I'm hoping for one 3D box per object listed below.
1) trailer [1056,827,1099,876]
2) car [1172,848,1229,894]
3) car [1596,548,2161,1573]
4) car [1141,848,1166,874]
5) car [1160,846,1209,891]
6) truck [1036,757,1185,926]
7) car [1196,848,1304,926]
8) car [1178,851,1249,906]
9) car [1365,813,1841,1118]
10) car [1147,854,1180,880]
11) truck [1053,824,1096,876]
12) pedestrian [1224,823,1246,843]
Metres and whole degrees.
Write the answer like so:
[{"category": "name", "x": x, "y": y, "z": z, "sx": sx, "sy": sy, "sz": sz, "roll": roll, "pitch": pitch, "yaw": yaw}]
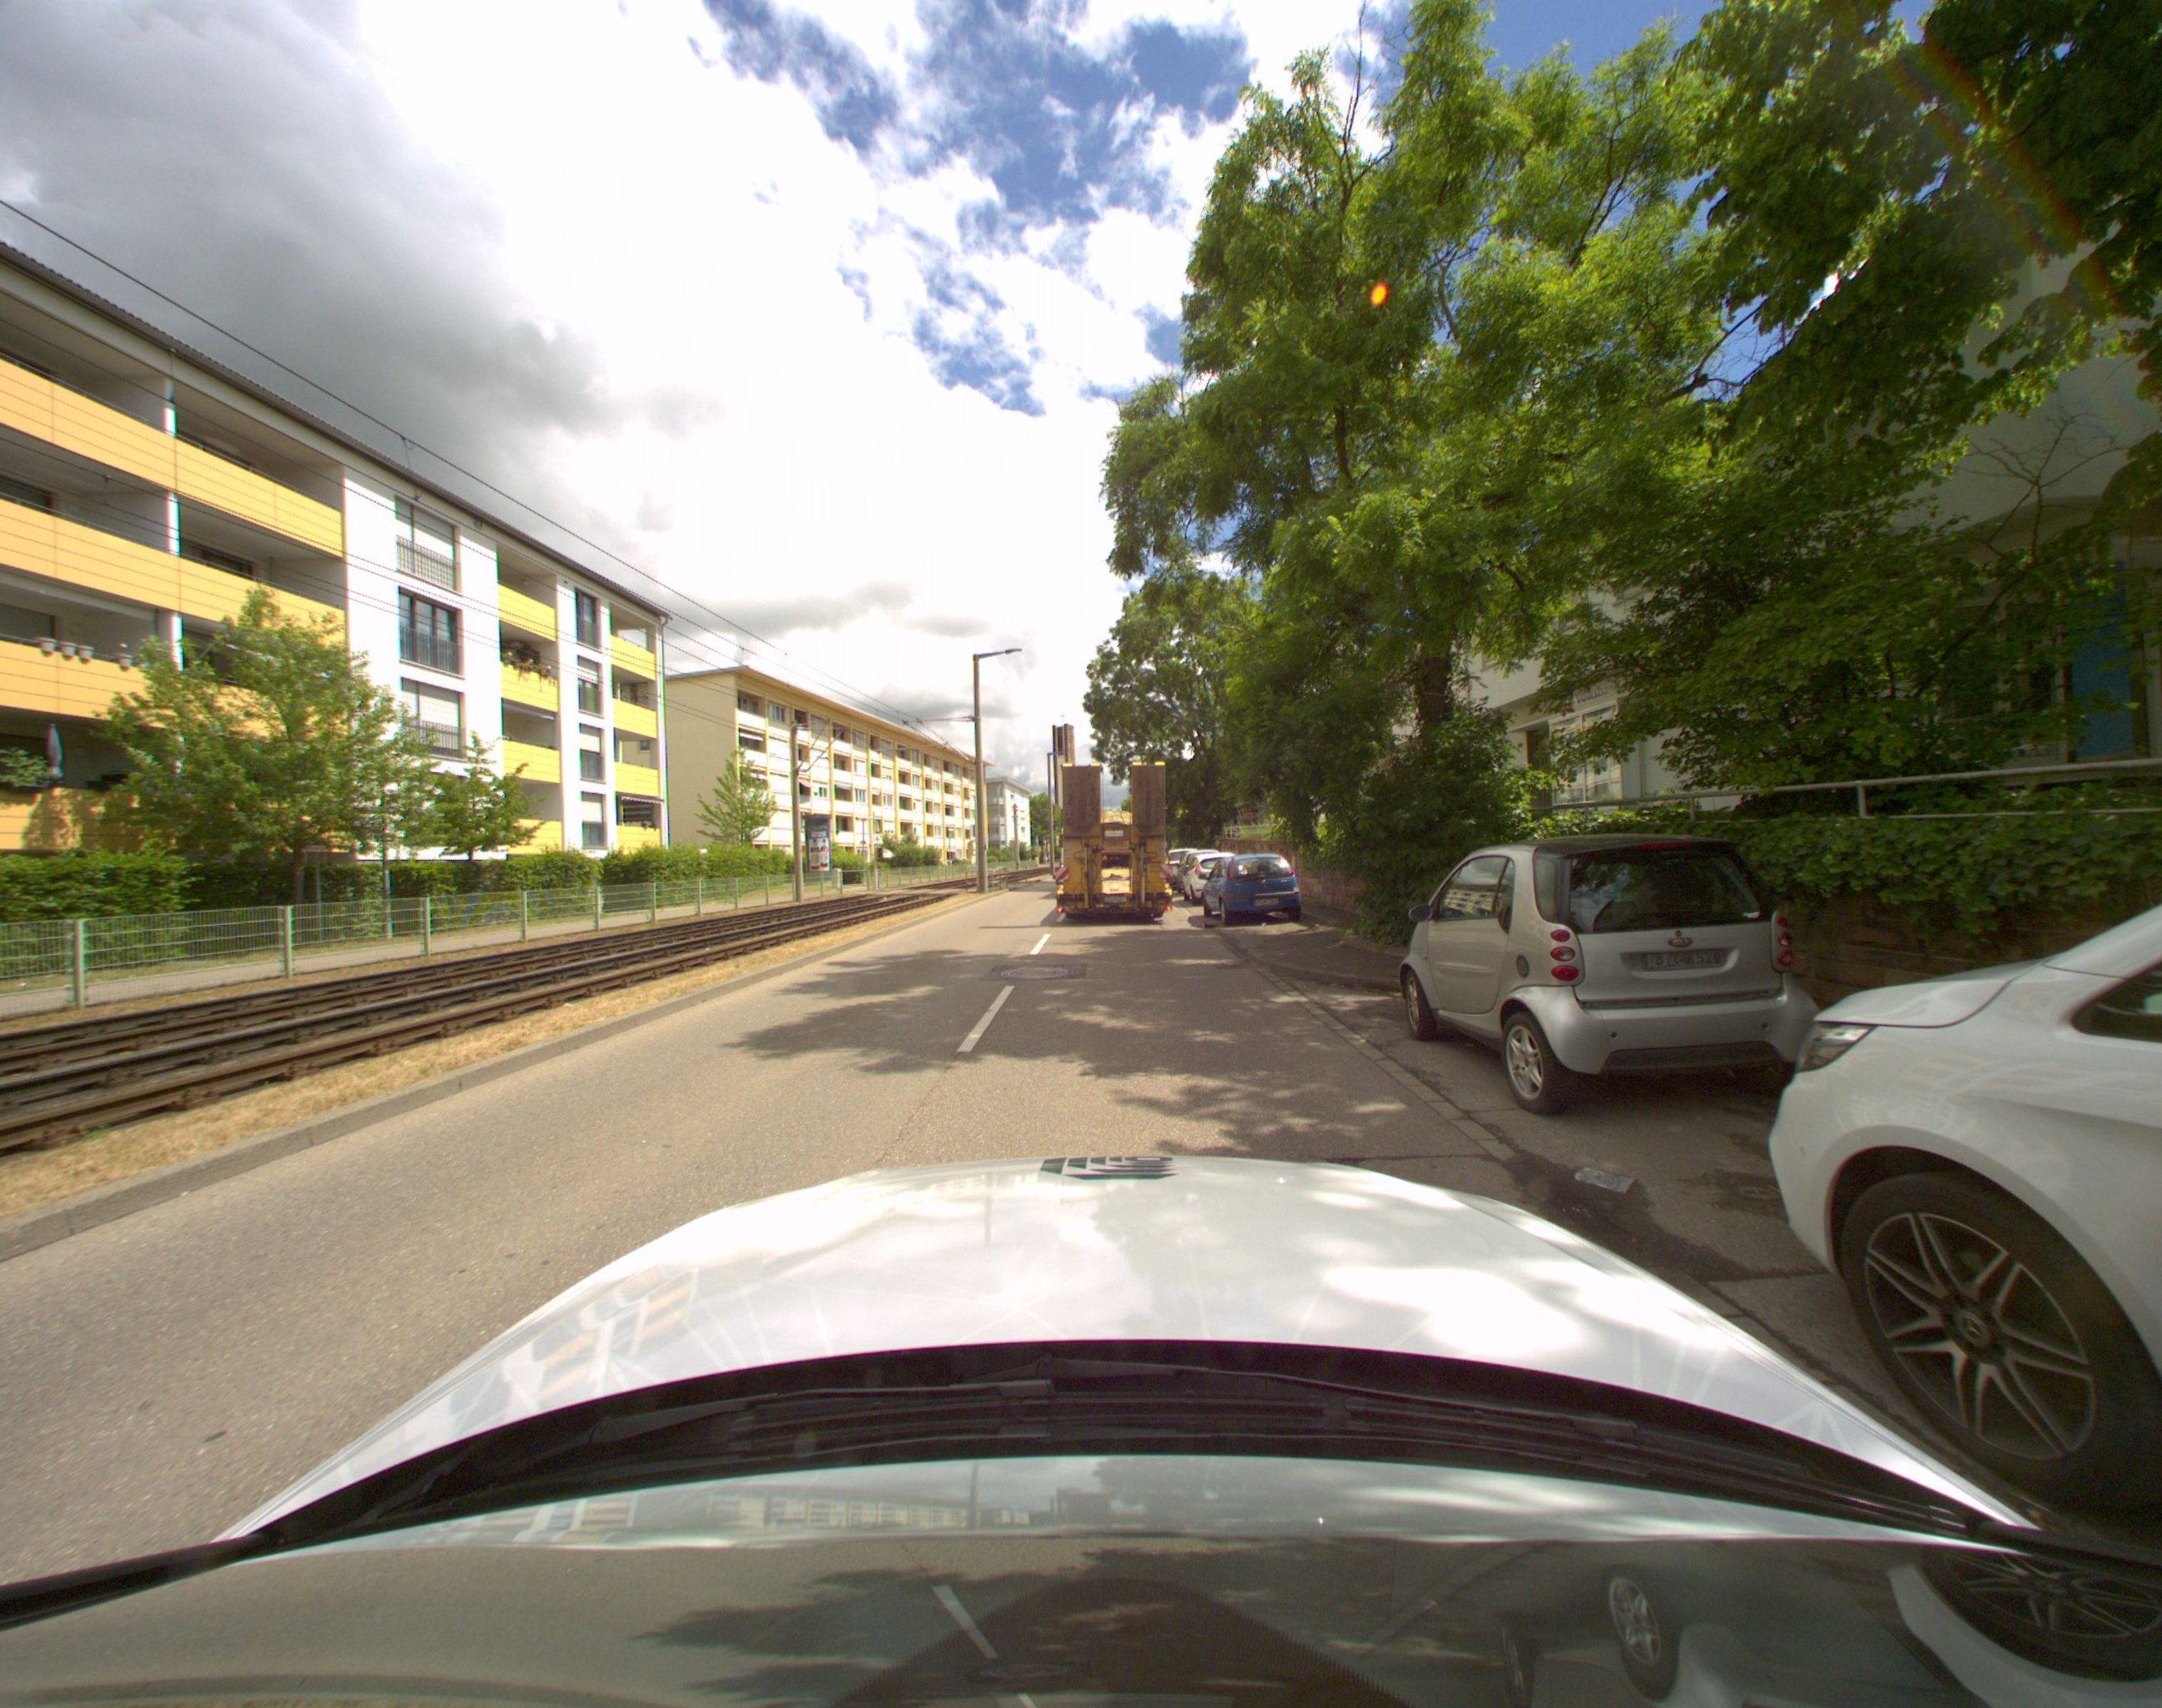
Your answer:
[{"category": "trailer", "x": -0.094, "y": -0.217, "z": 65.716, "sx": 2.687, "sy": 3.580, "sz": 13.685, "roll": -1, "pitch": 0, "yaw": 3}, {"category": "car", "x": 4.320, "y": 0.572, "z": 29.821, "sx": 1.576, "sy": 1.552, "sz": 3.475, "roll": -2, "pitch": 0, "yaw": 1}, {"category": "car", "x": 2.984, "y": 0.369, "z": 0.314, "sx": 1.908, "sy": 1.958, "sz": 5.745, "roll": -3, "pitch": 0, "yaw": 0}, {"category": "car", "x": 5.993, "y": 0.541, "z": 67.709, "sx": 1.792, "sy": 1.968, "sz": 4.593, "roll": -3, "pitch": 0, "yaw": 3}, {"category": "car", "x": 4.323, "y": 0.566, "z": 34.588, "sx": 1.815, "sy": 1.682, "sz": 4.582, "roll": -3, "pitch": 0, "yaw": 5}, {"category": "truck", "x": 0.676, "y": -0.294, "z": 23.751, "sx": 3.113, "sy": 3.564, "sz": 12.459, "roll": -2, "pitch": 0, "yaw": 0}, {"category": "car", "x": 3.648, "y": 0.661, "z": 18.166, "sx": 1.603, "sy": 1.456, "sz": 3.675, "roll": -3, "pitch": 0, "yaw": 0}, {"category": "car", "x": 3.932, "y": 0.685, "z": 24.692, "sx": 1.638, "sy": 1.490, "sz": 3.824, "roll": -2, "pitch": 0, "yaw": 2}, {"category": "car", "x": 3.262, "y": 0.589, "z": 5.744, "sx": 1.507, "sy": 1.534, "sz": 2.847, "roll": -3, "pitch": 0, "yaw": 1}, {"category": "car", "x": 5.001, "y": 0.755, "z": 49.987, "sx": 1.828, "sy": 1.405, "sz": 4.418, "roll": -3, "pitch": 0, "yaw": 4}, {"category": "truck", "x": -0.399, "y": -0.291, "z": 59.396, "sx": 2.687, "sy": 3.580, "sz": 6.149, "roll": -1, "pitch": 0, "yaw": 3}, {"category": "pedestrian", "x": 6.541, "y": -0.890, "z": 34.526, "sx": 0.792, "sy": 0.790, "sz": 0.705, "roll": -2, "pitch": 0, "yaw": 1}]
